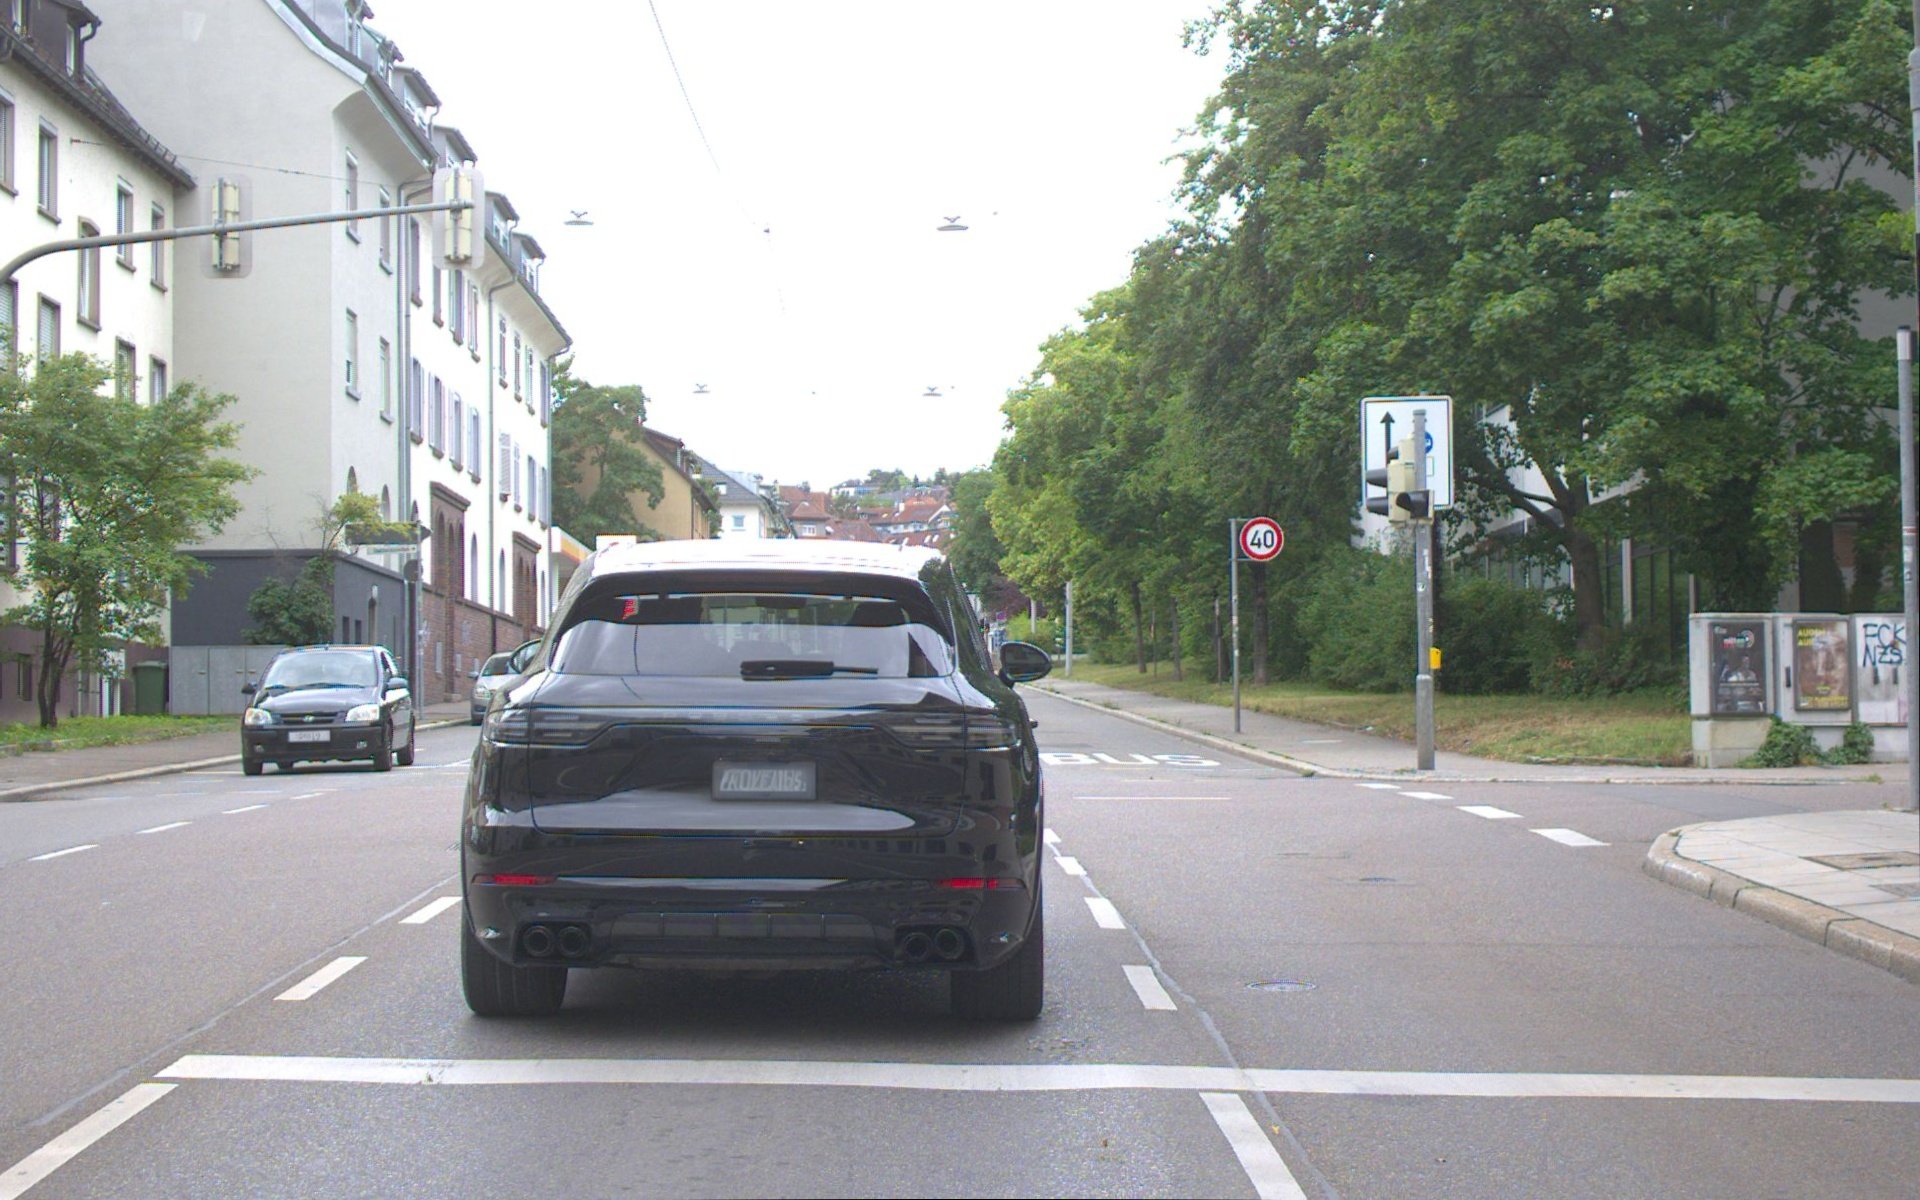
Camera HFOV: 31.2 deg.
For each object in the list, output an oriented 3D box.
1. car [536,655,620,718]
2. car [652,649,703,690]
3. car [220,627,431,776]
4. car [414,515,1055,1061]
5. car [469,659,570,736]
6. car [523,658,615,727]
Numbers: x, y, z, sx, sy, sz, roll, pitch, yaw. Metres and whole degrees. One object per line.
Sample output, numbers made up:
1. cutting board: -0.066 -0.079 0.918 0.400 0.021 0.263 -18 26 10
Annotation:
1. car: -8.823 1.978 79.652 1.670 1.357 4.000 0 0 -2
2. car: -10.050 2.470 122.534 1.670 1.357 4.000 0 0 -2
3. car: -7.284 1.138 39.777 1.664 1.514 3.739 -3 0 0
4. car: -0.733 0.592 12.851 1.993 1.691 4.000 1 0 -1
5. car: -8.455 1.860 66.213 1.669 1.357 4.000 0 0 -3
6. car: -8.383 1.972 73.941 1.670 1.357 4.000 0 0 -2
